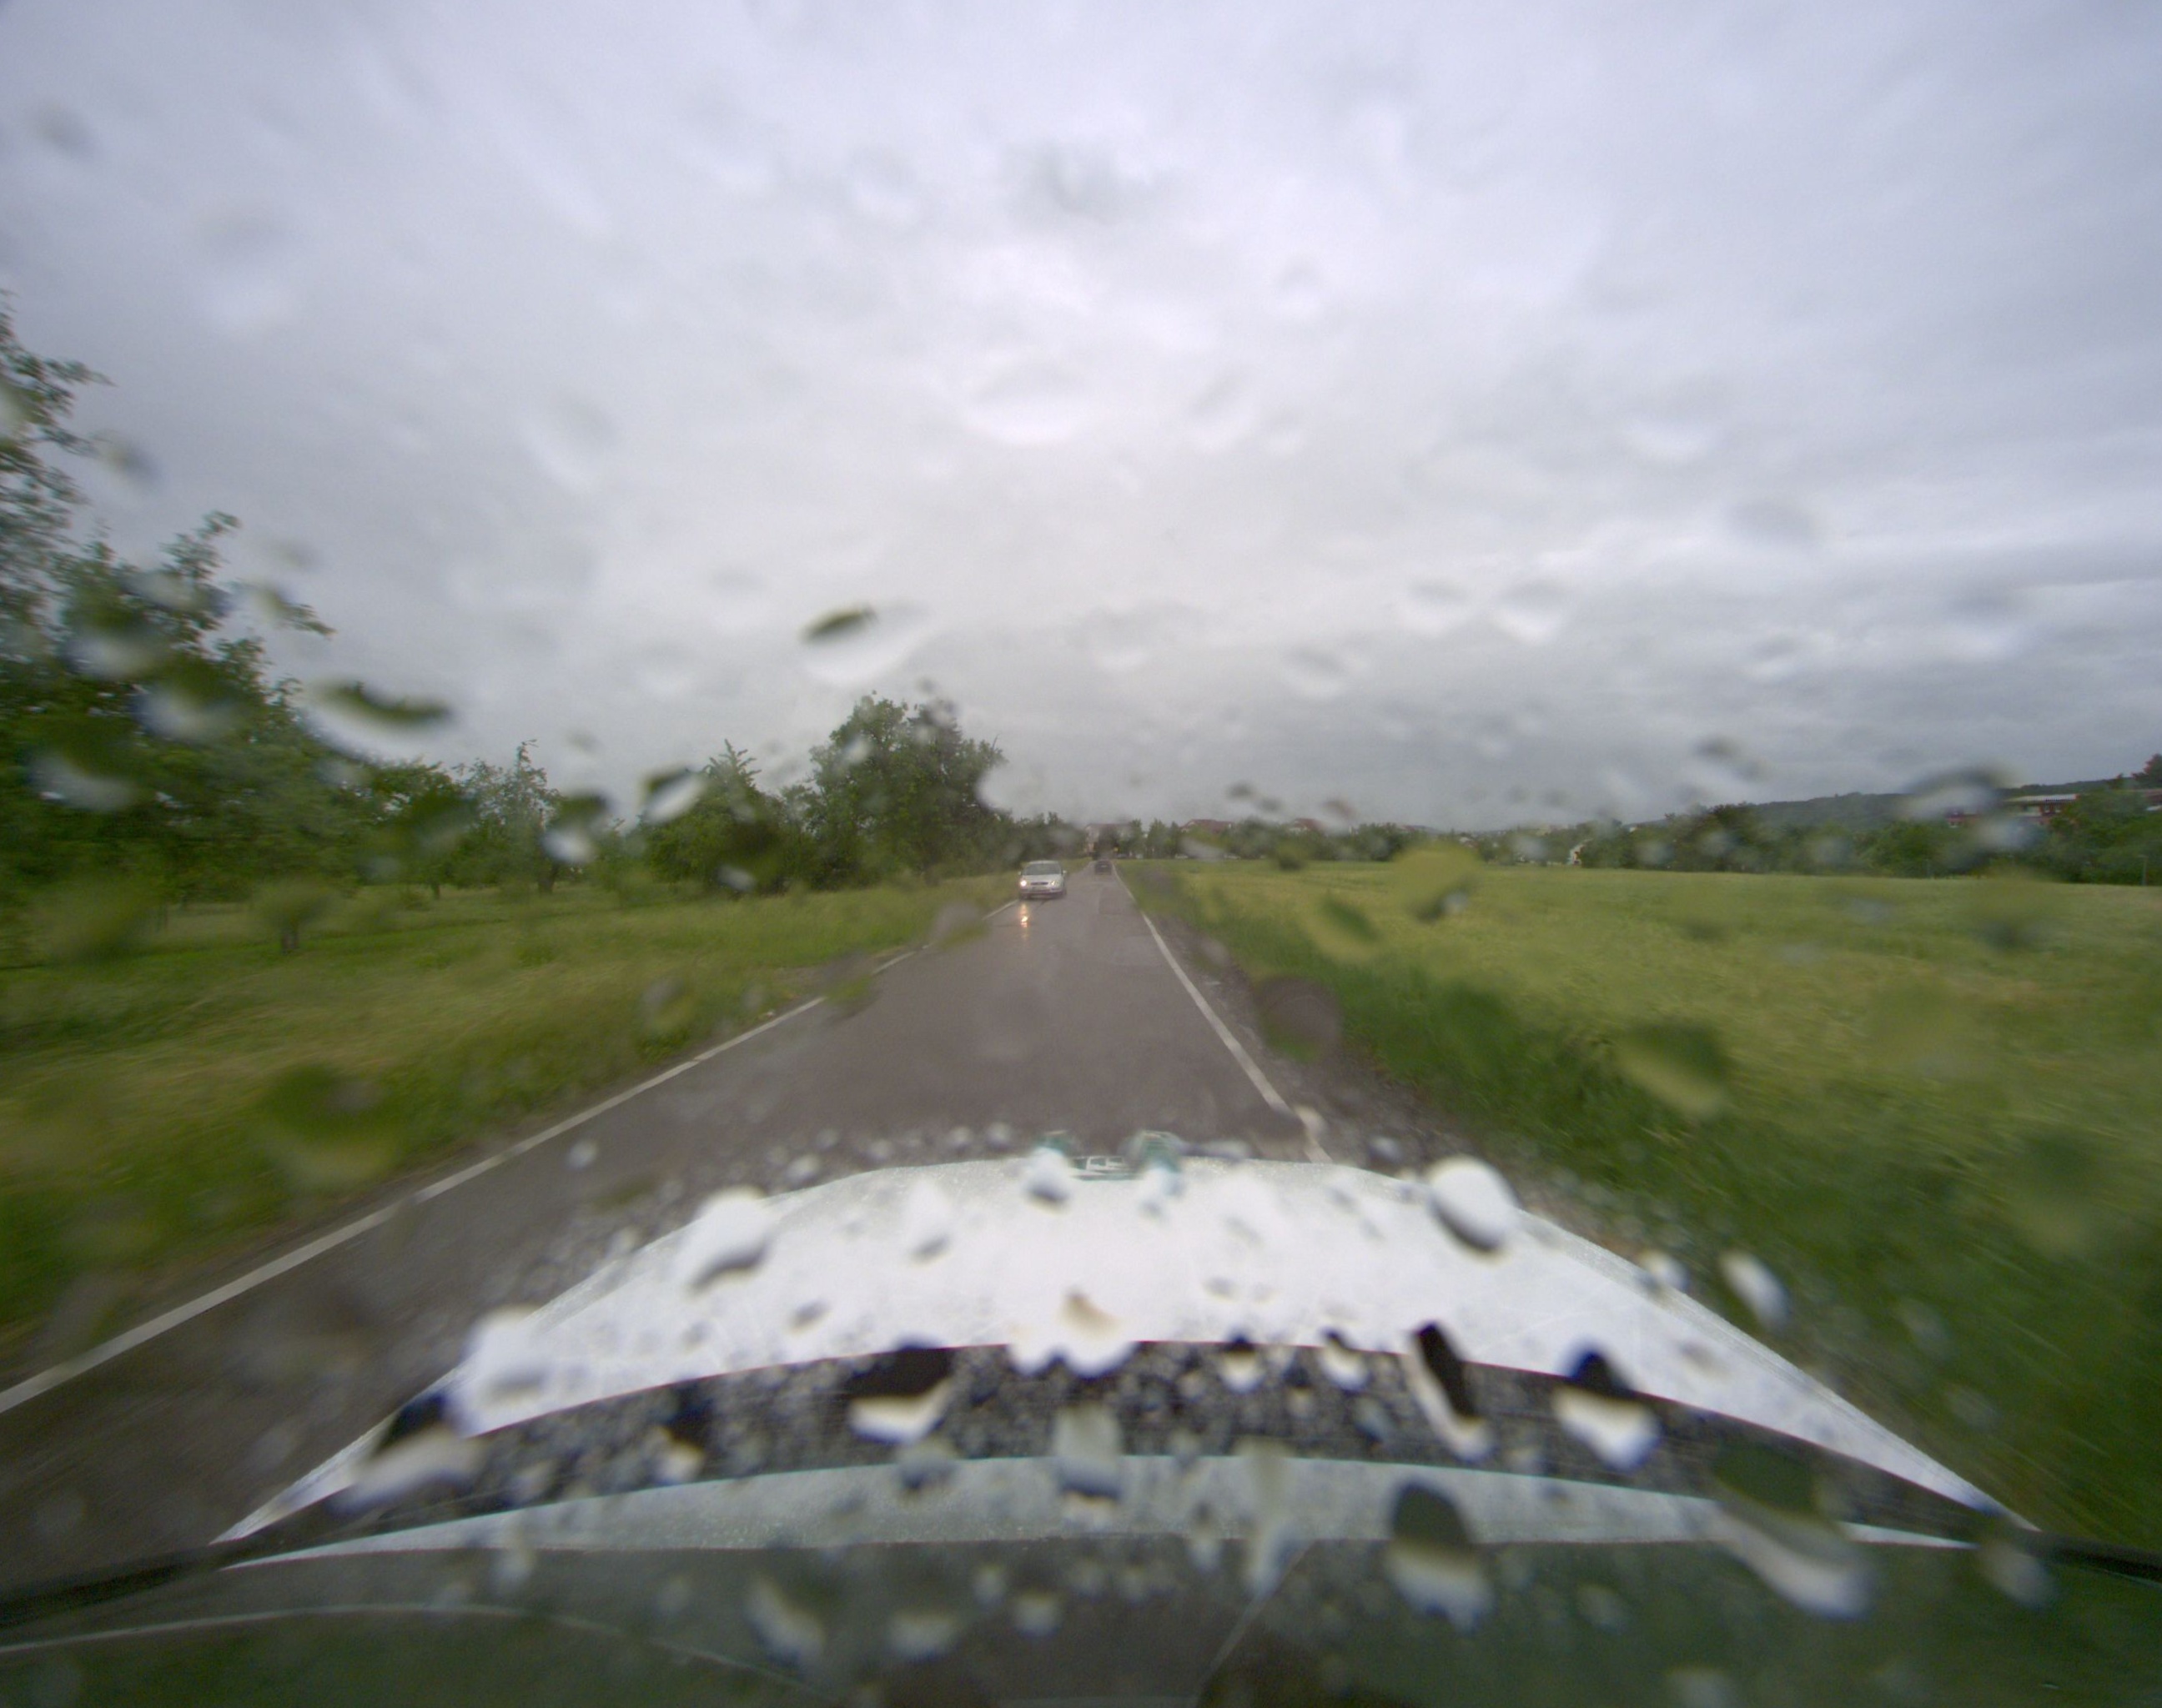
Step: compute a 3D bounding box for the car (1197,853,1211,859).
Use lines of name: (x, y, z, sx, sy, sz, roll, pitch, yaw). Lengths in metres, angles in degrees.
car: (29.513, 0.495, 195.180, 3.169, 1.371, 1.578, -1, -2, 15)

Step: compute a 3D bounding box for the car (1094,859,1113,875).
car: (2.283, 1.353, 82.682, 1.807, 1.594, 4.002, -1, -2, 3)

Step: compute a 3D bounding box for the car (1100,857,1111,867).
car: (4.485, 1.429, 147.224, 1.807, 1.594, 4.002, -1, -2, 3)

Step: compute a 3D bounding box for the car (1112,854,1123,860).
car: (10.157, 0.951, 224.739, 1.645, 1.547, 4.023, -2, -2, 26)

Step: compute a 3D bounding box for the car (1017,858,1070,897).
car: (-1.453, 0.964, 32.965, 1.732, 1.471, 4.125, -1, -2, 3)

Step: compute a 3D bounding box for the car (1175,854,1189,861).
car: (24.361, 0.852, 196.427, 3.365, 1.371, 1.554, -1, -2, 15)

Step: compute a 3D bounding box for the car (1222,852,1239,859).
car: (35.570, 0.416, 193.501, 3.682, 1.564, 1.616, -1, -2, 15)
